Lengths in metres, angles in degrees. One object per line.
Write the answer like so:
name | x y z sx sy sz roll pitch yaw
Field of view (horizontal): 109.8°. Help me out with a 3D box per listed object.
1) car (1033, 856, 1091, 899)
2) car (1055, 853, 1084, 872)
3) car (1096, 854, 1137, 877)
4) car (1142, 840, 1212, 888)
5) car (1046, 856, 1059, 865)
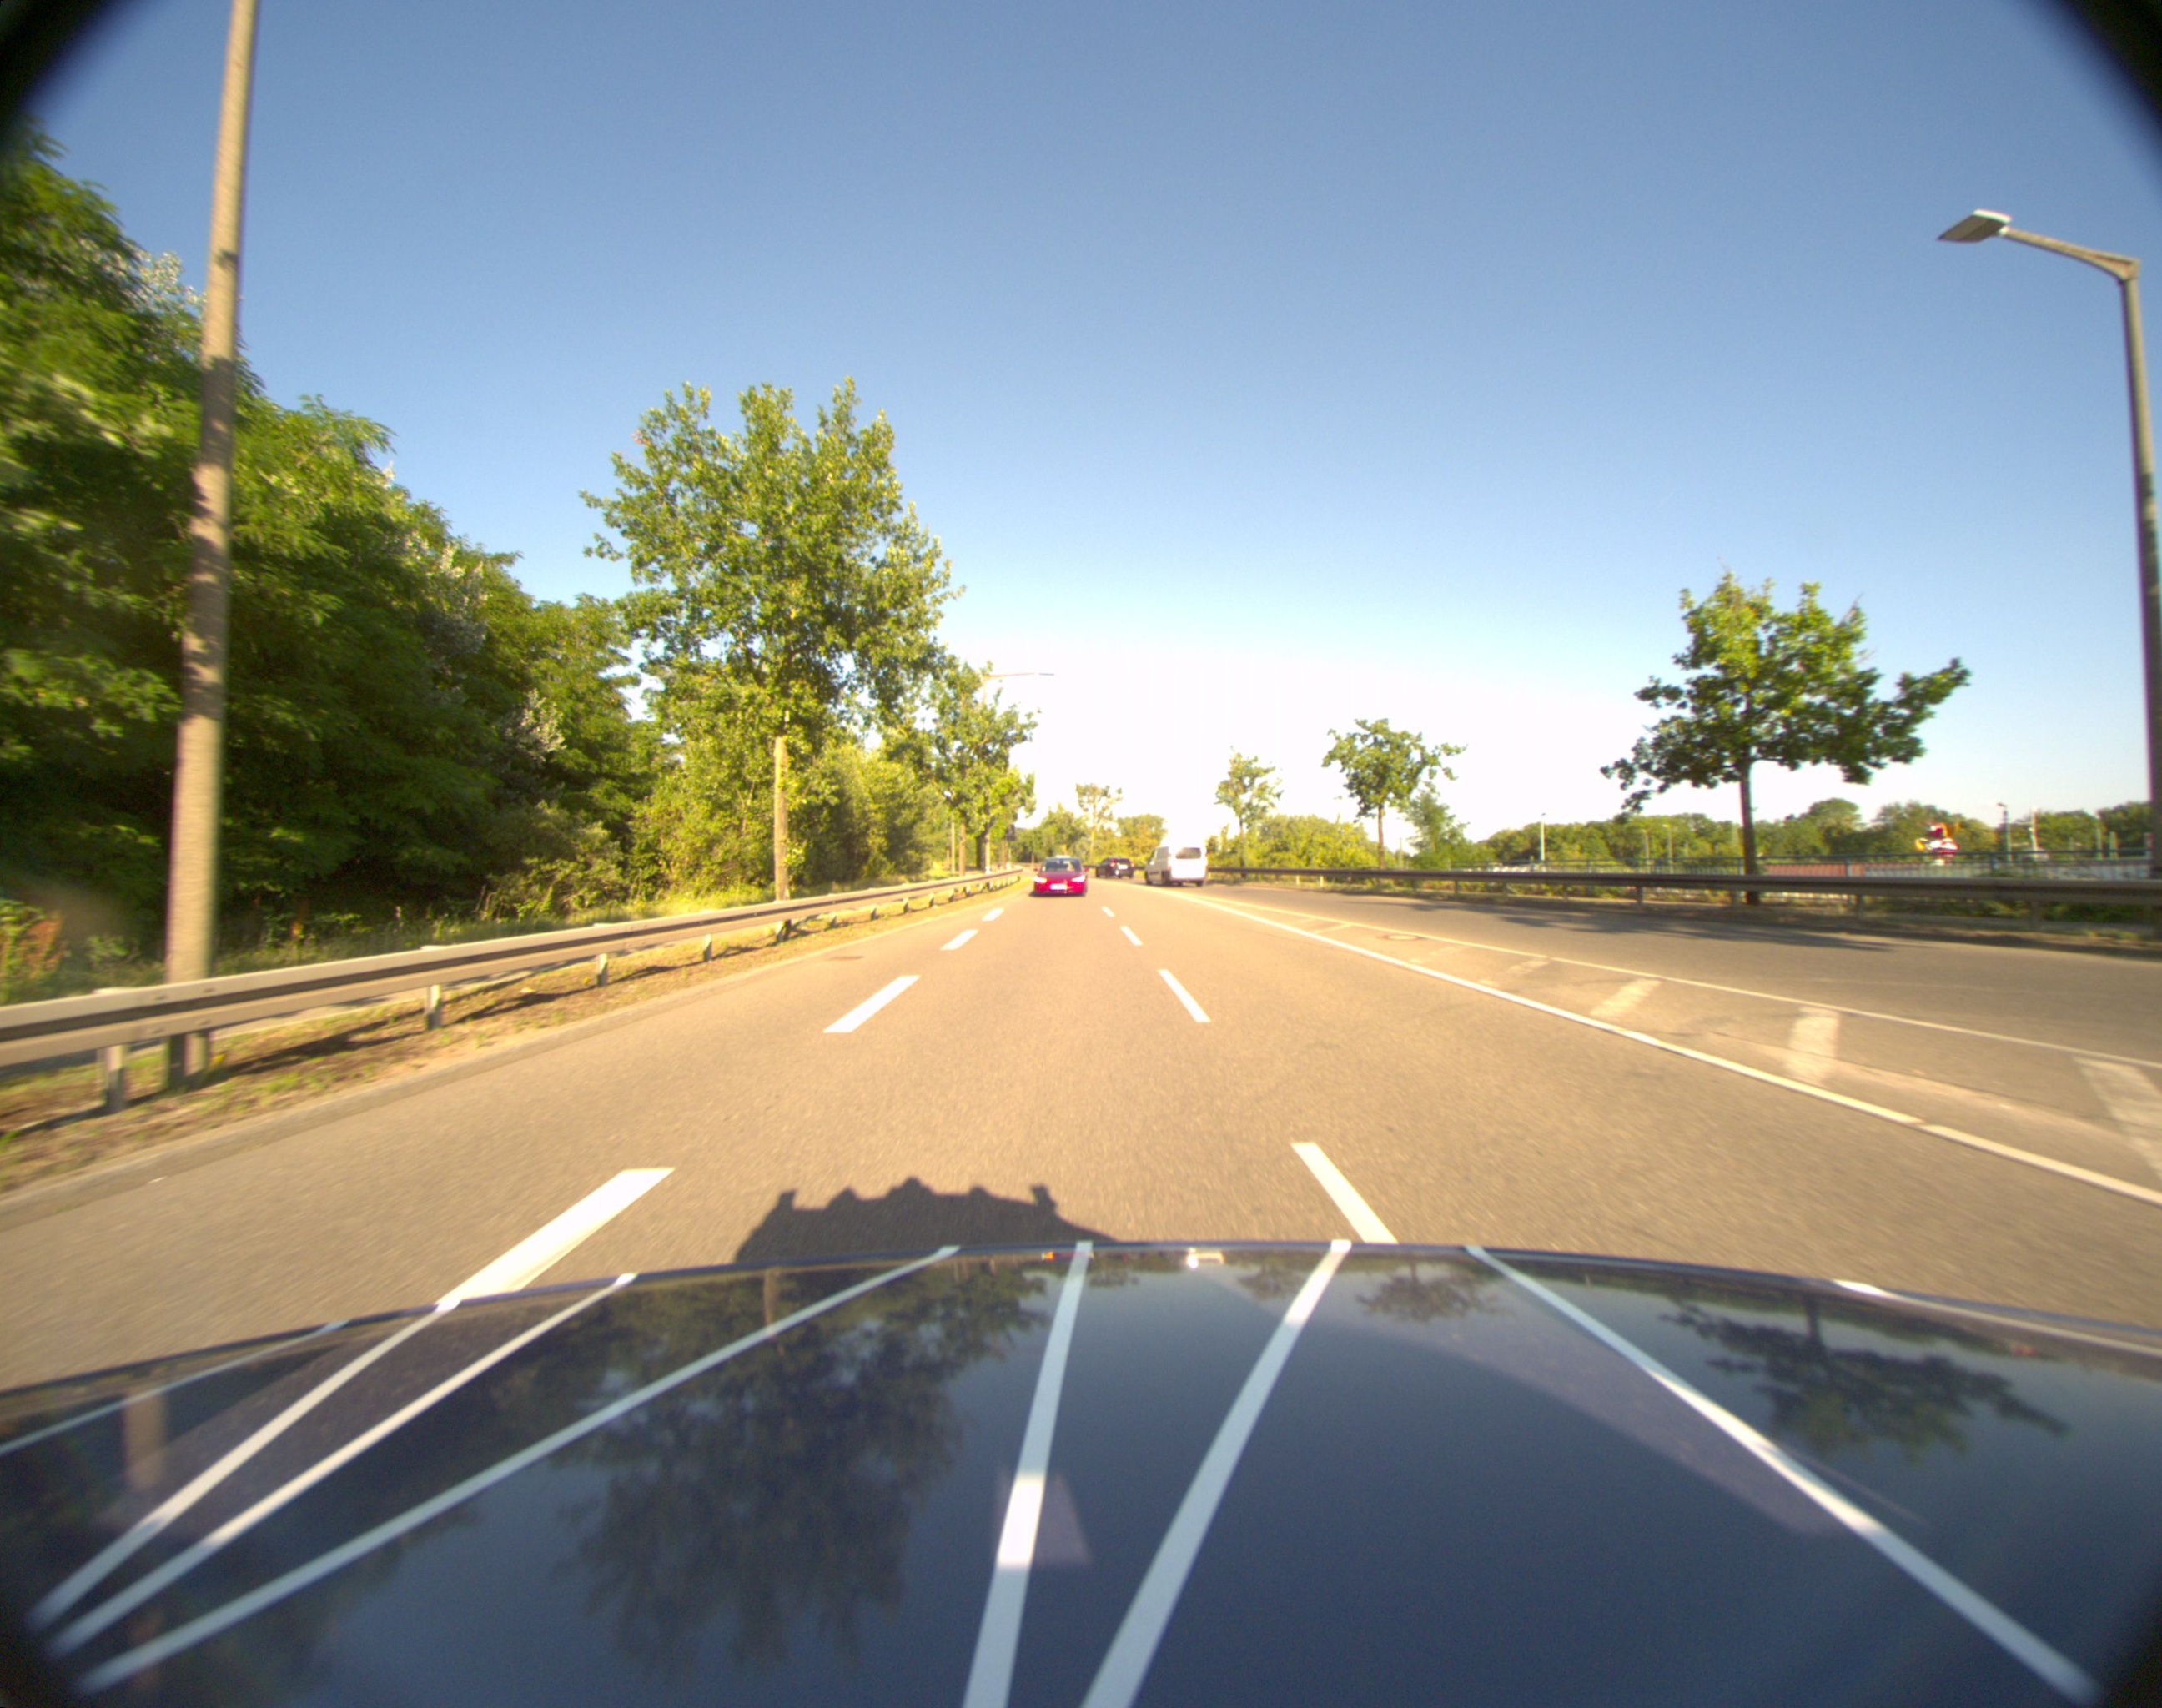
car | -0.788 0.820 28.600 1.782 1.433 4.356 1 0 -6
car | -1.057 0.713 68.485 1.834 1.580 4.644 -1 0 -10
car | 2.360 0.748 51.319 1.778 1.457 4.379 -1 0 -11
car | 4.388 0.407 35.656 1.884 2.002 5.255 -2 1 -8
car | -4.920 1.128 130.108 1.689 1.415 3.855 2 0 -11
